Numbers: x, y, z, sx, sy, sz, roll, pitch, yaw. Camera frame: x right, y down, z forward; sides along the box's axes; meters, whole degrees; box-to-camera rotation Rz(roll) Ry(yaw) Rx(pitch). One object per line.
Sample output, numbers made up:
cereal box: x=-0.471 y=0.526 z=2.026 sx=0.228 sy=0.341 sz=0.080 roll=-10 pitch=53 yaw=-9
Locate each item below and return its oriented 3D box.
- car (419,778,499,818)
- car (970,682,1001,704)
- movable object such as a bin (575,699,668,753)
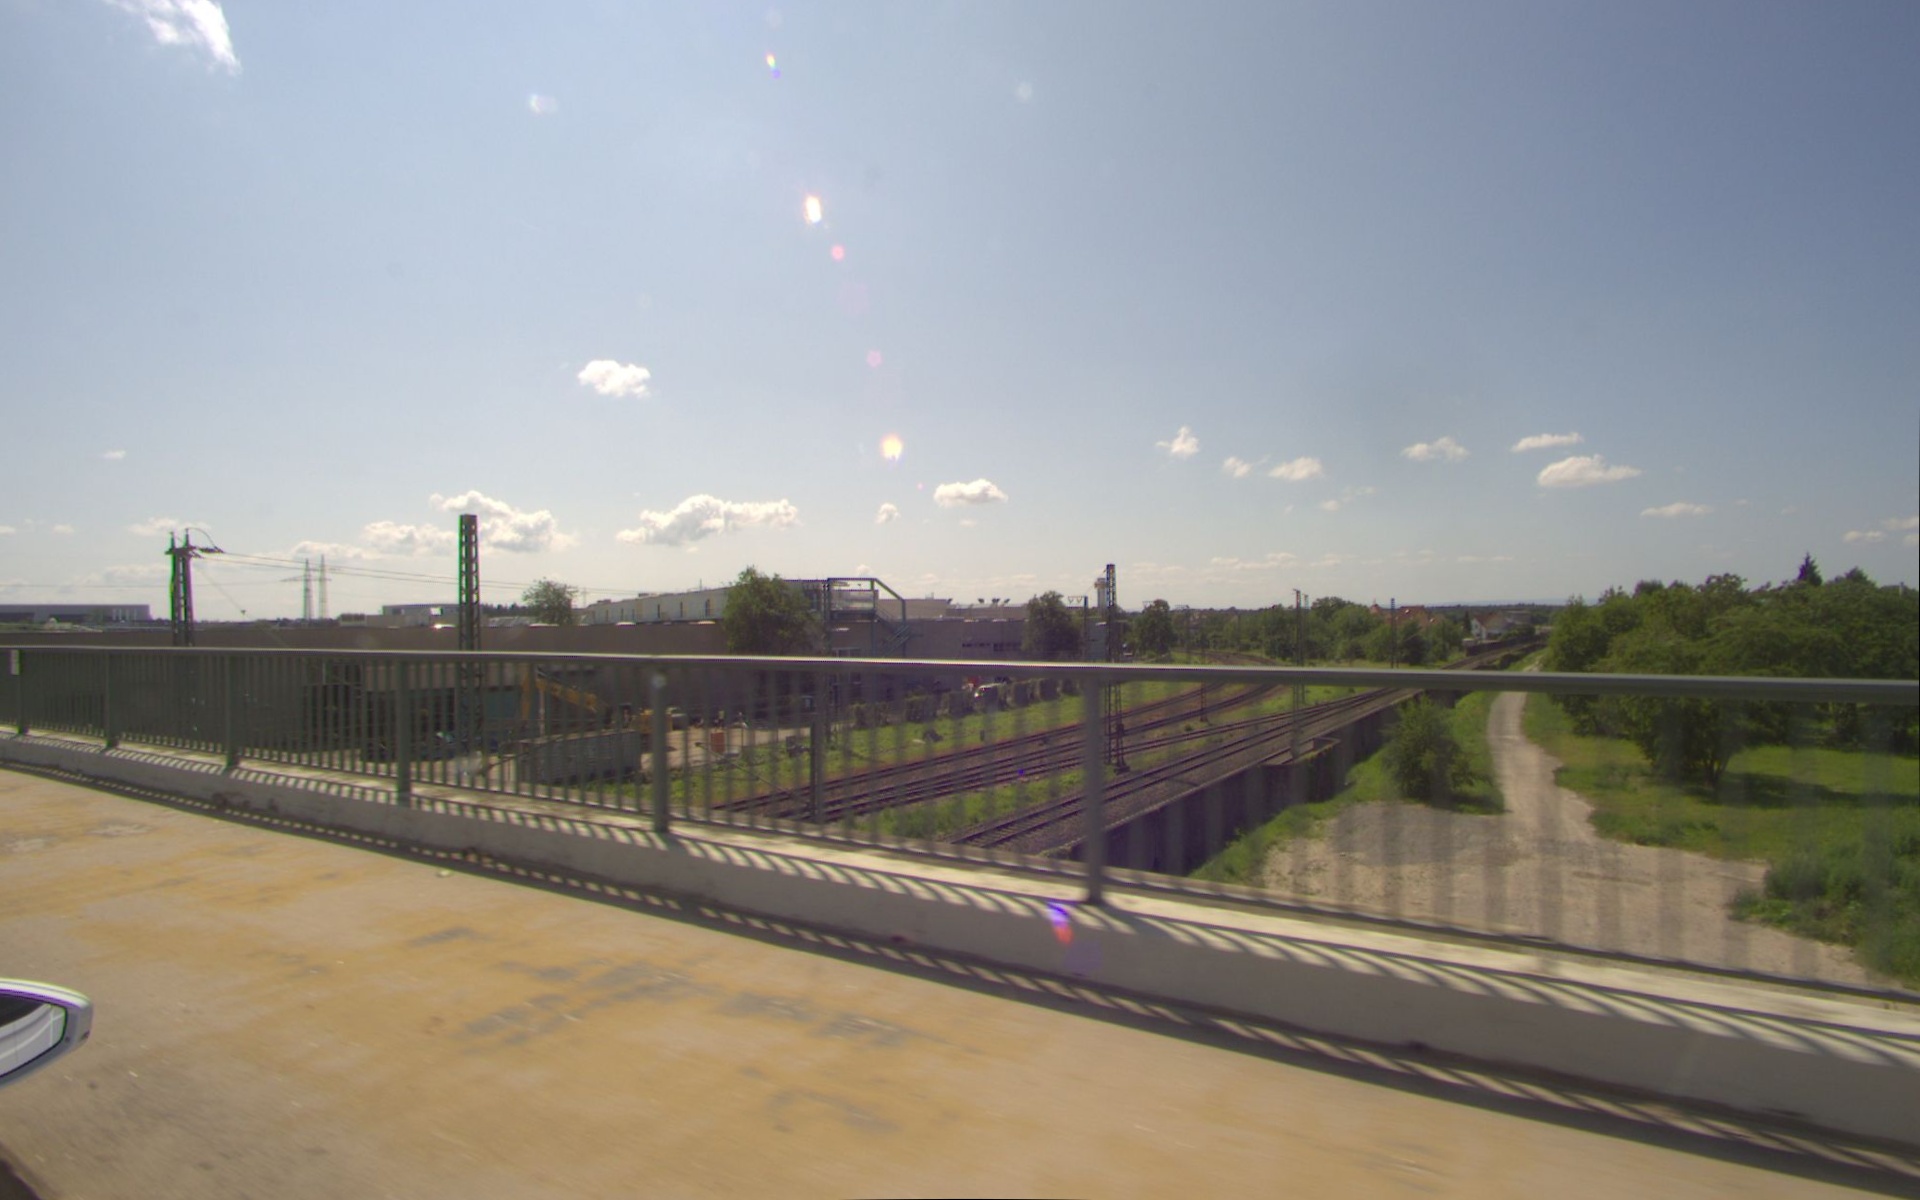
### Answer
car: x=-26.511 y=10.426 z=52.958 sx=4.188 sy=1.614 sz=1.990 roll=-2 pitch=-6 yaw=36
car: x=2.823 y=10.209 z=109.989 sx=1.968 sy=2.040 sz=3.987 roll=-1 pitch=-1 yaw=25
movable object such as a bin: x=-25.296 y=9.316 z=74.748 sx=6.132 sy=3.333 sz=3.232 roll=0 pitch=0 yaw=-29
